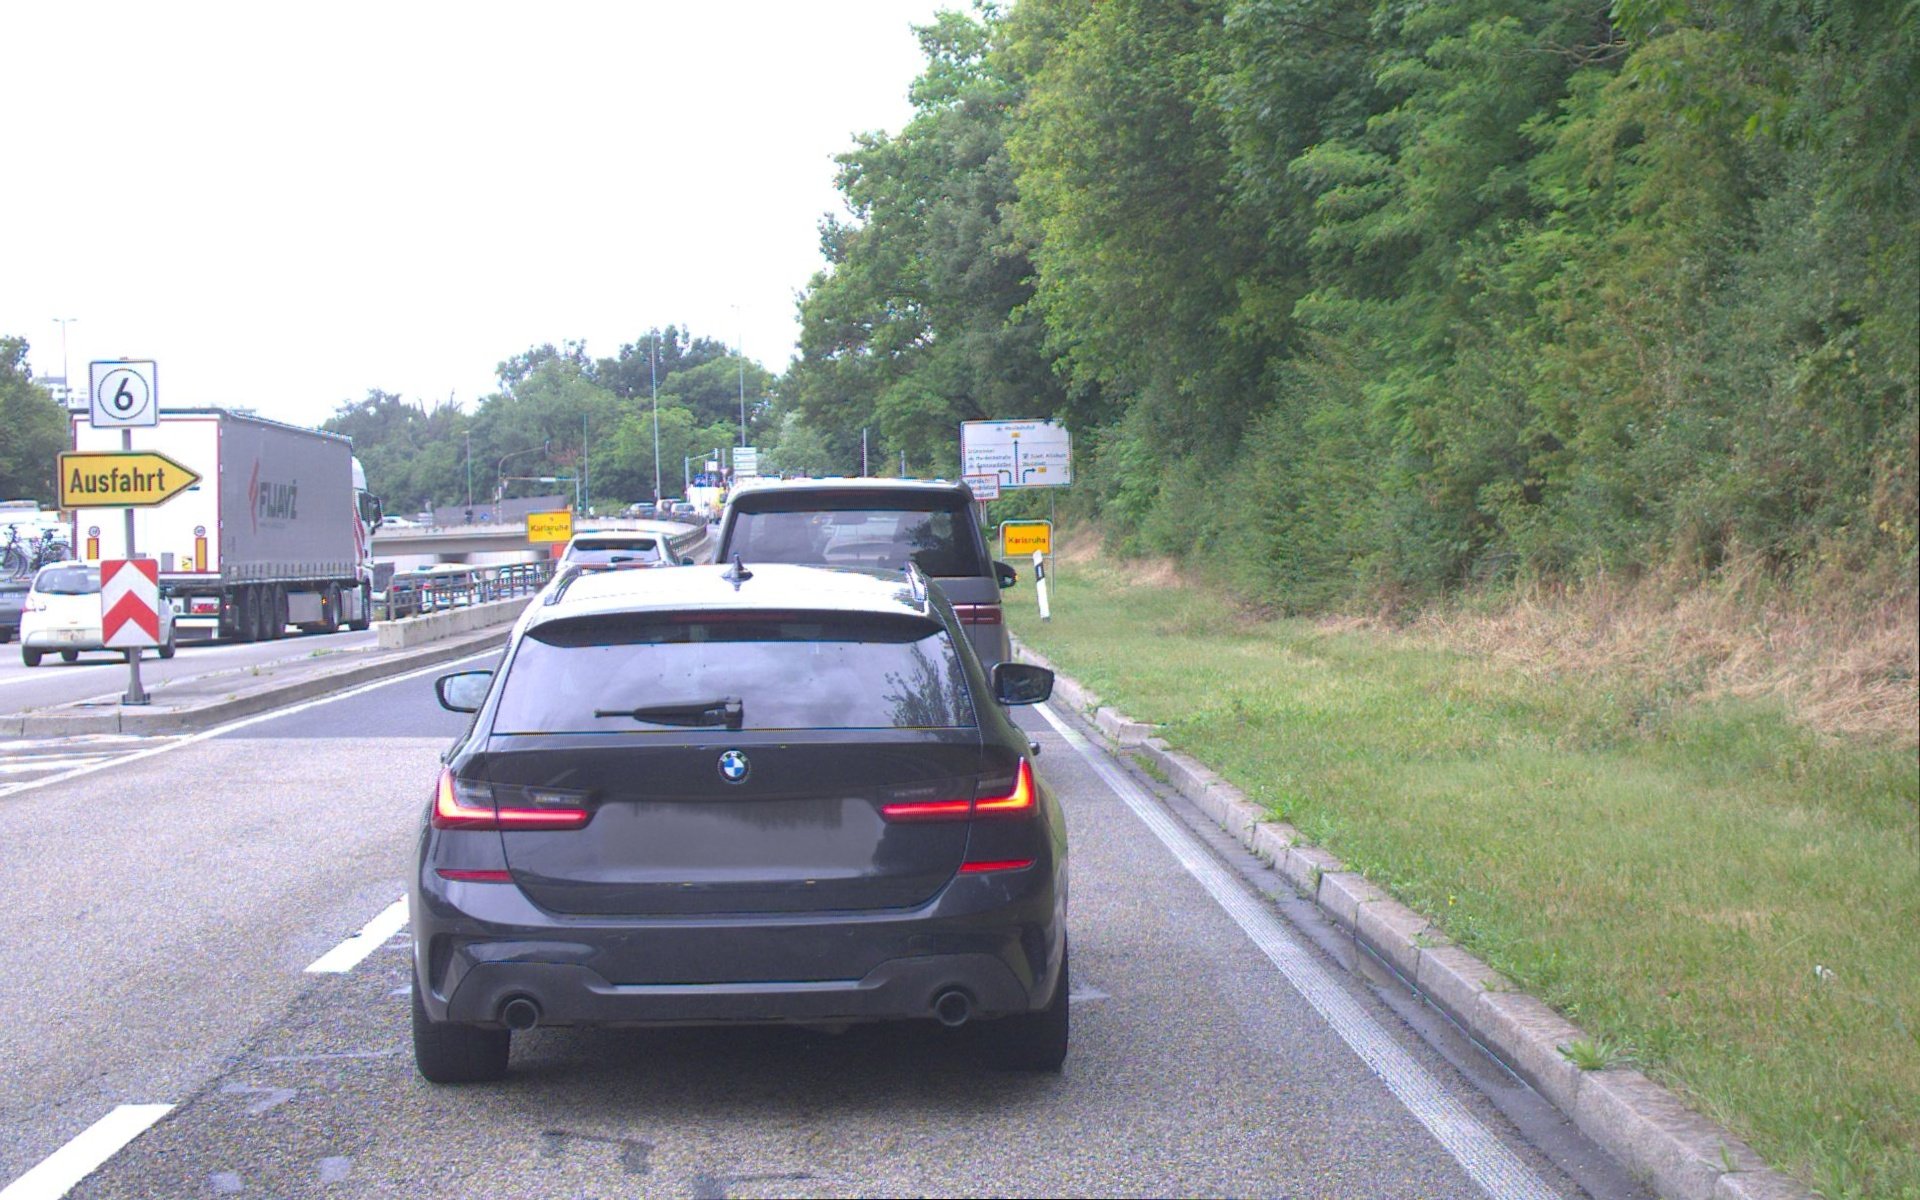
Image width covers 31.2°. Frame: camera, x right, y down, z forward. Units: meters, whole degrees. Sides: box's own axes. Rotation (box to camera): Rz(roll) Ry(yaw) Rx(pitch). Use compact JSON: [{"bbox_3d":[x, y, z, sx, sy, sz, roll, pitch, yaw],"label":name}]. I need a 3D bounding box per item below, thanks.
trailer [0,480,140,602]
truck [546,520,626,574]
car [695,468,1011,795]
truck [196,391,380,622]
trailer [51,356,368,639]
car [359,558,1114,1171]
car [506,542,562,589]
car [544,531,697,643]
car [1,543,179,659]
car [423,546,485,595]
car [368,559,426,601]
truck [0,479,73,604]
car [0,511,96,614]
[{"bbox_3d":[-31.419,-2.085,121.443,2.397,4.015,13.080,-1,1,-3],"label":"trailer"},{"bbox_3d":[-18.329,-2.621,168.997,3.274,2.500,7.661,-1,1,-2],"label":"truck"},{"bbox_3d":[-0.658,0.143,21.883,1.796,1.865,4.000,-1,1,-1],"label":"car"},{"bbox_3d":[-13.985,-1.926,71.843,3.083,4.681,4.232,0,1,-1],"label":"truck"},{"bbox_3d":[-13.782,-1.826,64.644,3.132,4.709,14.559,0,1,-2],"label":"trailer"},{"bbox_3d":[-0.650,0.628,10.513,1.846,1.461,4.001,-1,1,-3],"label":"car"},{"bbox_3d":[-14.069,-1.136,113.677,1.448,1.485,3.062,-1,1,0],"label":"car"},{"bbox_3d":[-5.132,-0.233,52.395,1.930,1.590,3.877,-1,1,0],"label":"car"},{"bbox_3d":[-12.421,-0.020,49.256,1.768,1.544,3.493,-1,1,-2],"label":"car"},{"bbox_3d":[-15.119,-0.897,102.835,1.377,1.393,3.062,-1,1,0],"label":"car"},{"bbox_3d":[-20.293,-0.744,124.004,1.593,1.427,3.062,-1,1,0],"label":"car"},{"bbox_3d":[-30.968,-1.934,113.510,2.405,4.006,4.001,-1,1,-3],"label":"truck"},{"bbox_3d":[-19.050,-0.784,71.008,1.443,2.037,3.680,-1,1,0],"label":"car"}]
